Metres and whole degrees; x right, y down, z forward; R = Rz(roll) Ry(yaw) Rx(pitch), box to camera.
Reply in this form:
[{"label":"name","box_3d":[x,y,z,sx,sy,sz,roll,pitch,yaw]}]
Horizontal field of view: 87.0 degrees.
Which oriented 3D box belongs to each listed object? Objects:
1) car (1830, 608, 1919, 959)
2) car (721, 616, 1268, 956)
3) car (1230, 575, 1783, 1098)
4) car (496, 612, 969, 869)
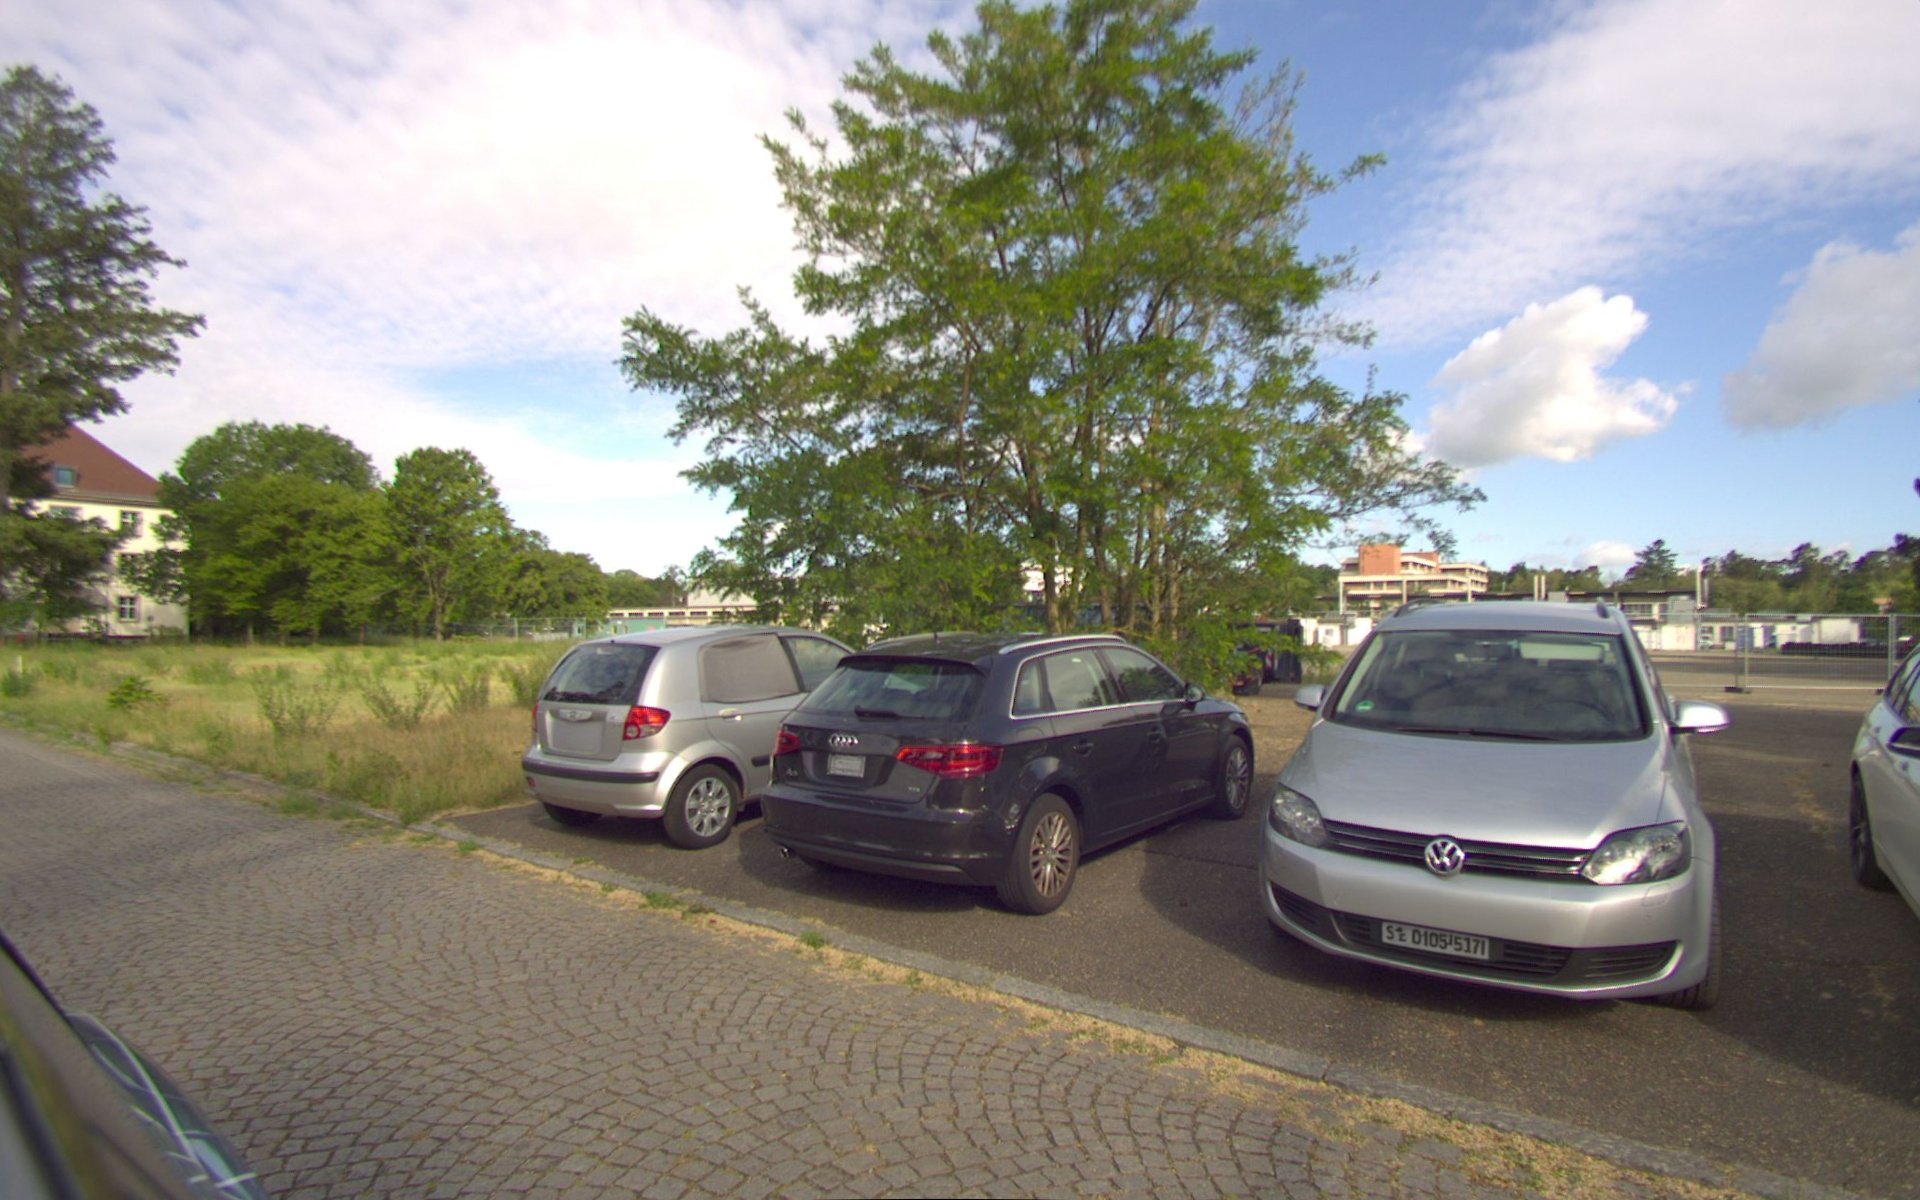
[{"label":"car","box_3d":[4.891,0.802,3.875,1.825,1.453,4.441,-1,0,34]},{"label":"car","box_3d":[0.498,0.880,6.612,1.692,1.419,3.801,-1,0,37]},{"label":"car","box_3d":[2.909,0.727,5.205,1.731,1.619,3.798,-1,0,35]},{"label":"car","box_3d":[-1.615,0.899,8.185,1.643,1.487,3.546,-1,0,35]}]
